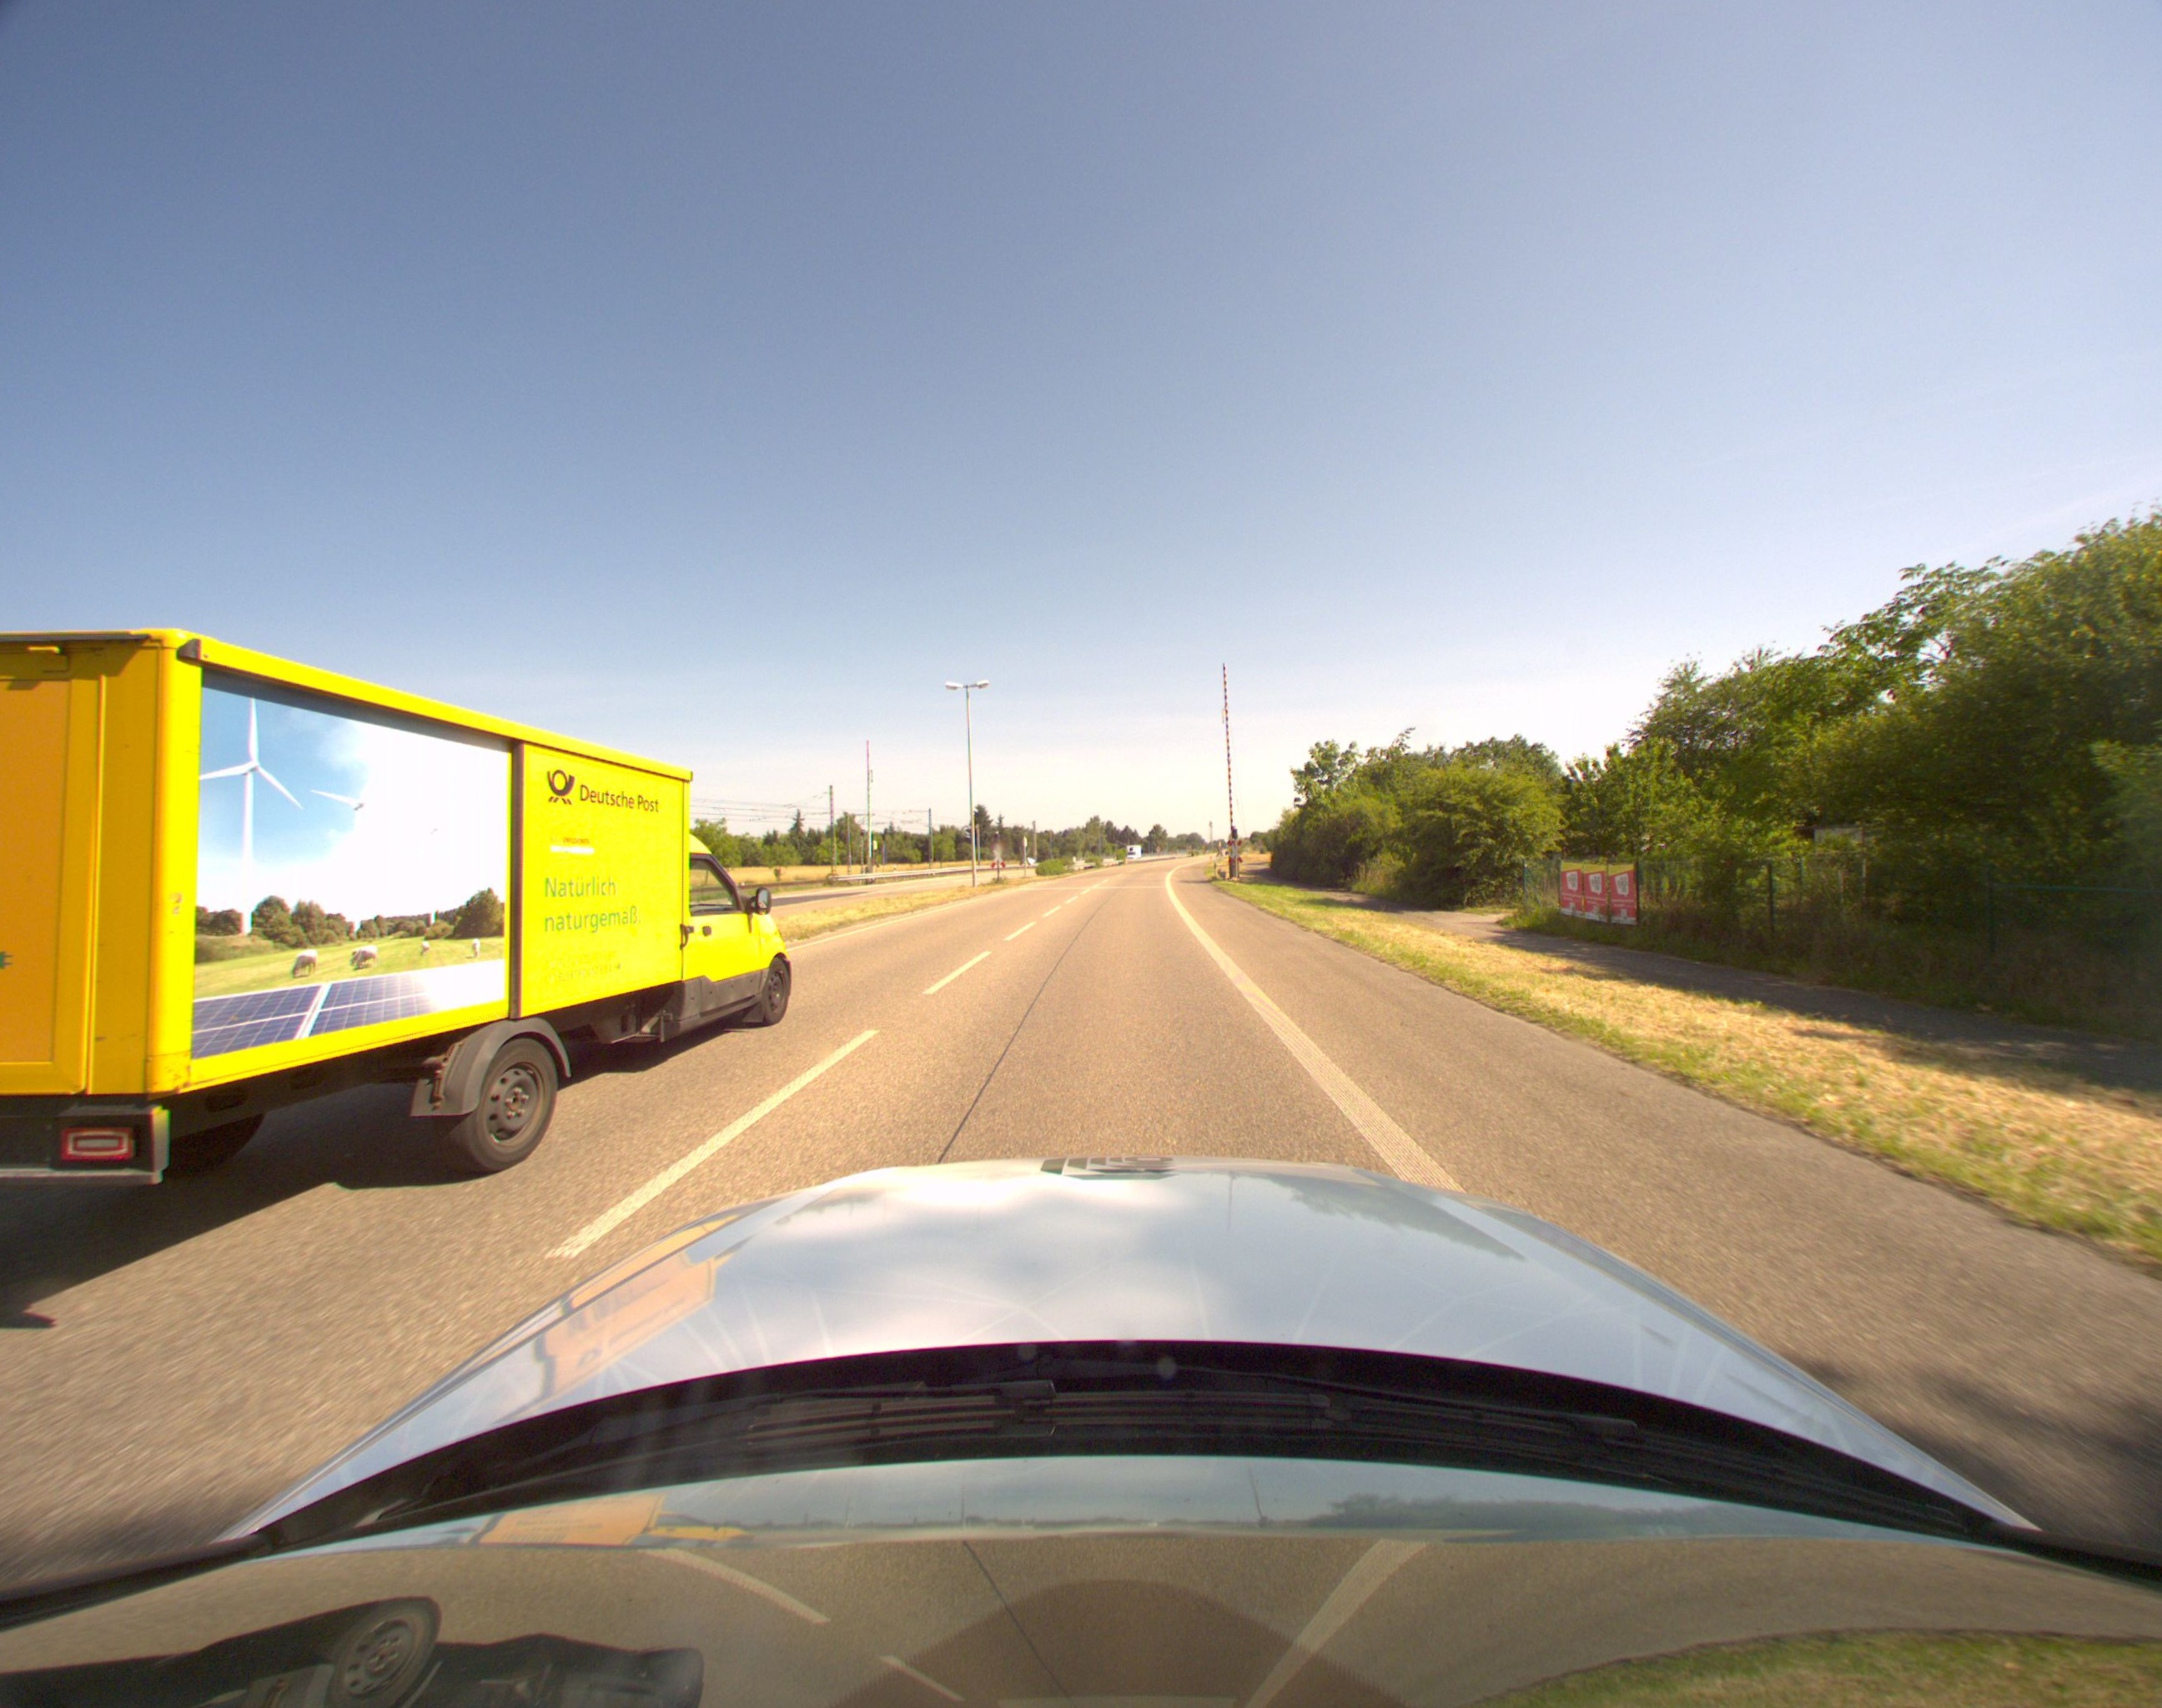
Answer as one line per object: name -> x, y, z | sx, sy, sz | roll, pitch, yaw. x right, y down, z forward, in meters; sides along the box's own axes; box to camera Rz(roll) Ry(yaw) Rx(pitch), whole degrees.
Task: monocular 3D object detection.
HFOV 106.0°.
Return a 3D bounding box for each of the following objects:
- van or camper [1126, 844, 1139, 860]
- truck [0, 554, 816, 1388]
van or camper -> 12.043, -0.505, 189.848 | 2.864, 3.680, 8.651 | -2, 0, 3
truck -> -3.803, 0.354, 5.358 | 2.105, 2.457, 5.917 | -1, 0, 0
